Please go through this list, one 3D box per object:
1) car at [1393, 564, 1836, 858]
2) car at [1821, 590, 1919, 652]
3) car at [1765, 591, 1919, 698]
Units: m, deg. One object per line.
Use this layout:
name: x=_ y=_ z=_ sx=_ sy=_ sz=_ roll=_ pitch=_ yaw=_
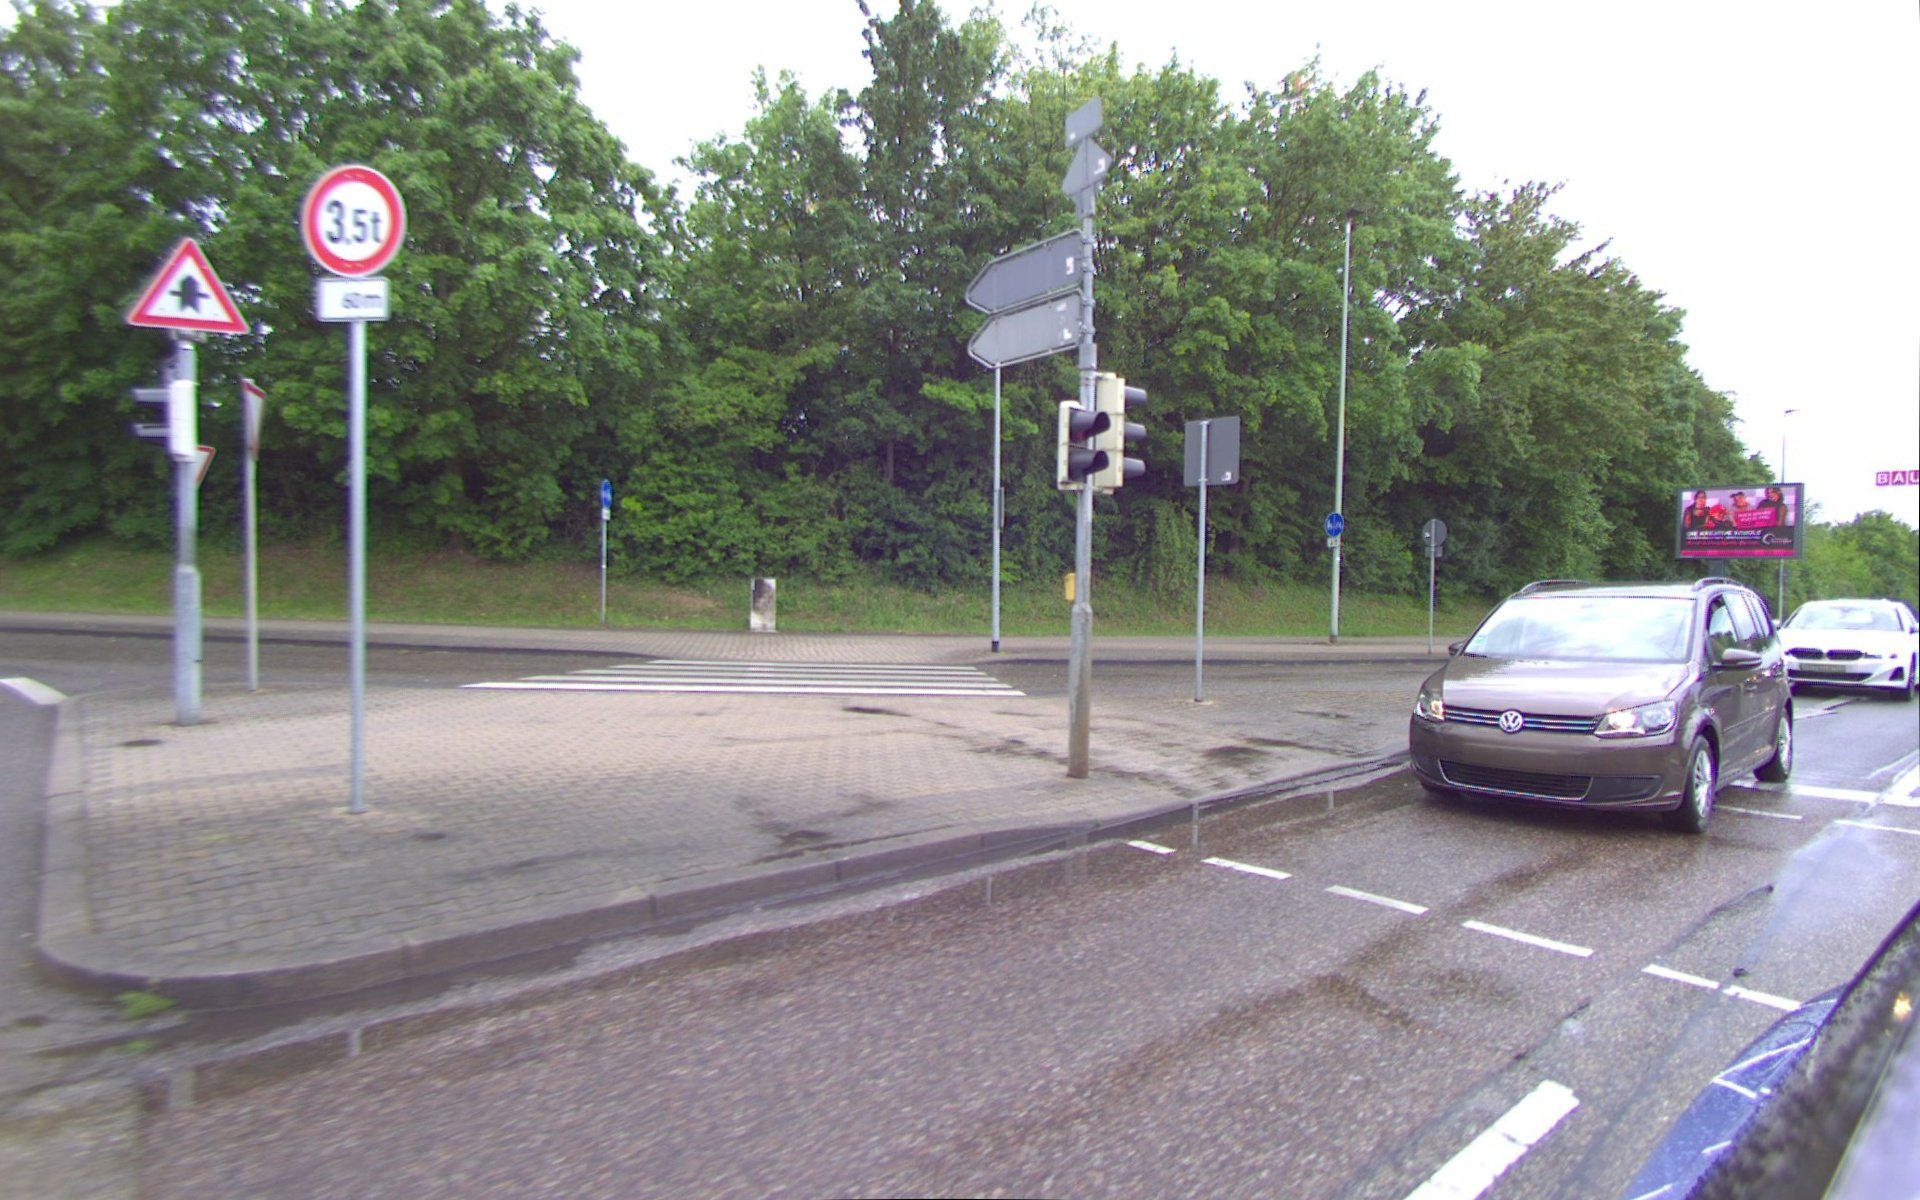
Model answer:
car: x=5.018 y=0.593 z=7.554 sx=3.910 sy=1.629 sz=1.750 roll=0 pitch=1 yaw=-41
car: x=28.229 y=0.602 z=31.156 sx=4.241 sy=1.749 sz=1.997 roll=0 pitch=1 yaw=-41
car: x=14.490 y=0.596 z=16.236 sx=4.600 sy=1.475 sz=1.782 roll=0 pitch=1 yaw=-43
